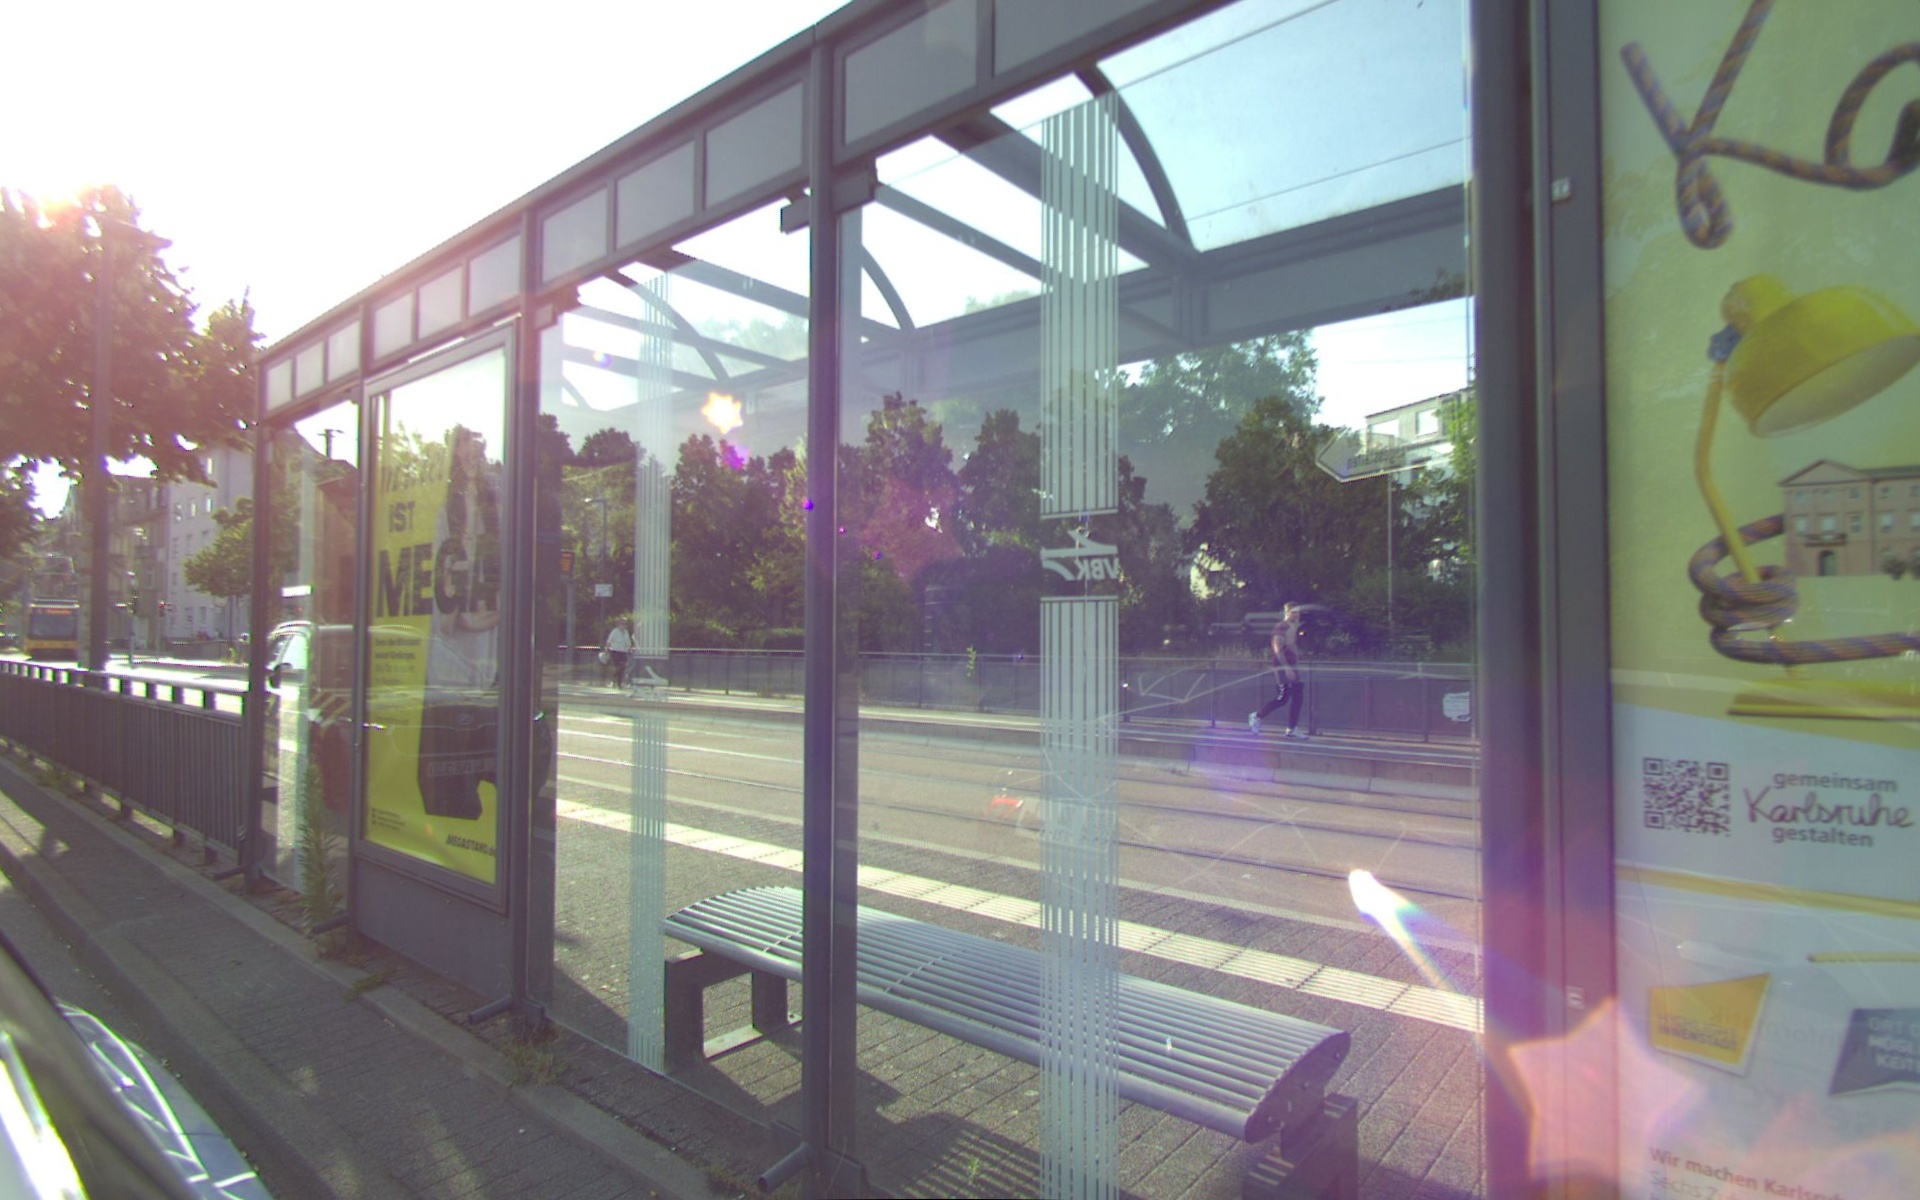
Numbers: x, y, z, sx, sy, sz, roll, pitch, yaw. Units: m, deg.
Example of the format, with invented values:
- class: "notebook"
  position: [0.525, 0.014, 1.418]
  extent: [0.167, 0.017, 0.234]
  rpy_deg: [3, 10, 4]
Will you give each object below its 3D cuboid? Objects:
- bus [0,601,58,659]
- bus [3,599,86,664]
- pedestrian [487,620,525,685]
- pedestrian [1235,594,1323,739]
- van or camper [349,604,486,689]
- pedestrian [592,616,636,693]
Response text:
- class: "bus"
  position: [-59.361, 1.833, 63.892]
  extent: [9.256, 3.461, 2.405]
  rpy_deg: [-1, 0, 41]
- class: "bus"
  position: [-52.382, 1.723, 57.823]
  extent: [9.256, 3.461, 2.405]
  rpy_deg: [-1, 0, 41]
- class: "pedestrian"
  position: [-12.031, 1.395, 26.840]
  extent: [0.618, 1.697, 0.613]
  rpy_deg: [-2, -6, 41]
- class: "pedestrian"
  position: [3.899, 0.811, 12.371]
  extent: [0.877, 1.697, 0.547]
  rpy_deg: [-2, -6, 41]
- class: "van or camper"
  position: [-20.809, 1.680, 38.695]
  extent: [6.407, 2.990, 2.494]
  rpy_deg: [-1, 0, 41]
- class: "pedestrian"
  position: [-7.852, 1.248, 22.985]
  extent: [0.618, 1.697, 0.613]
  rpy_deg: [-2, -6, 41]
